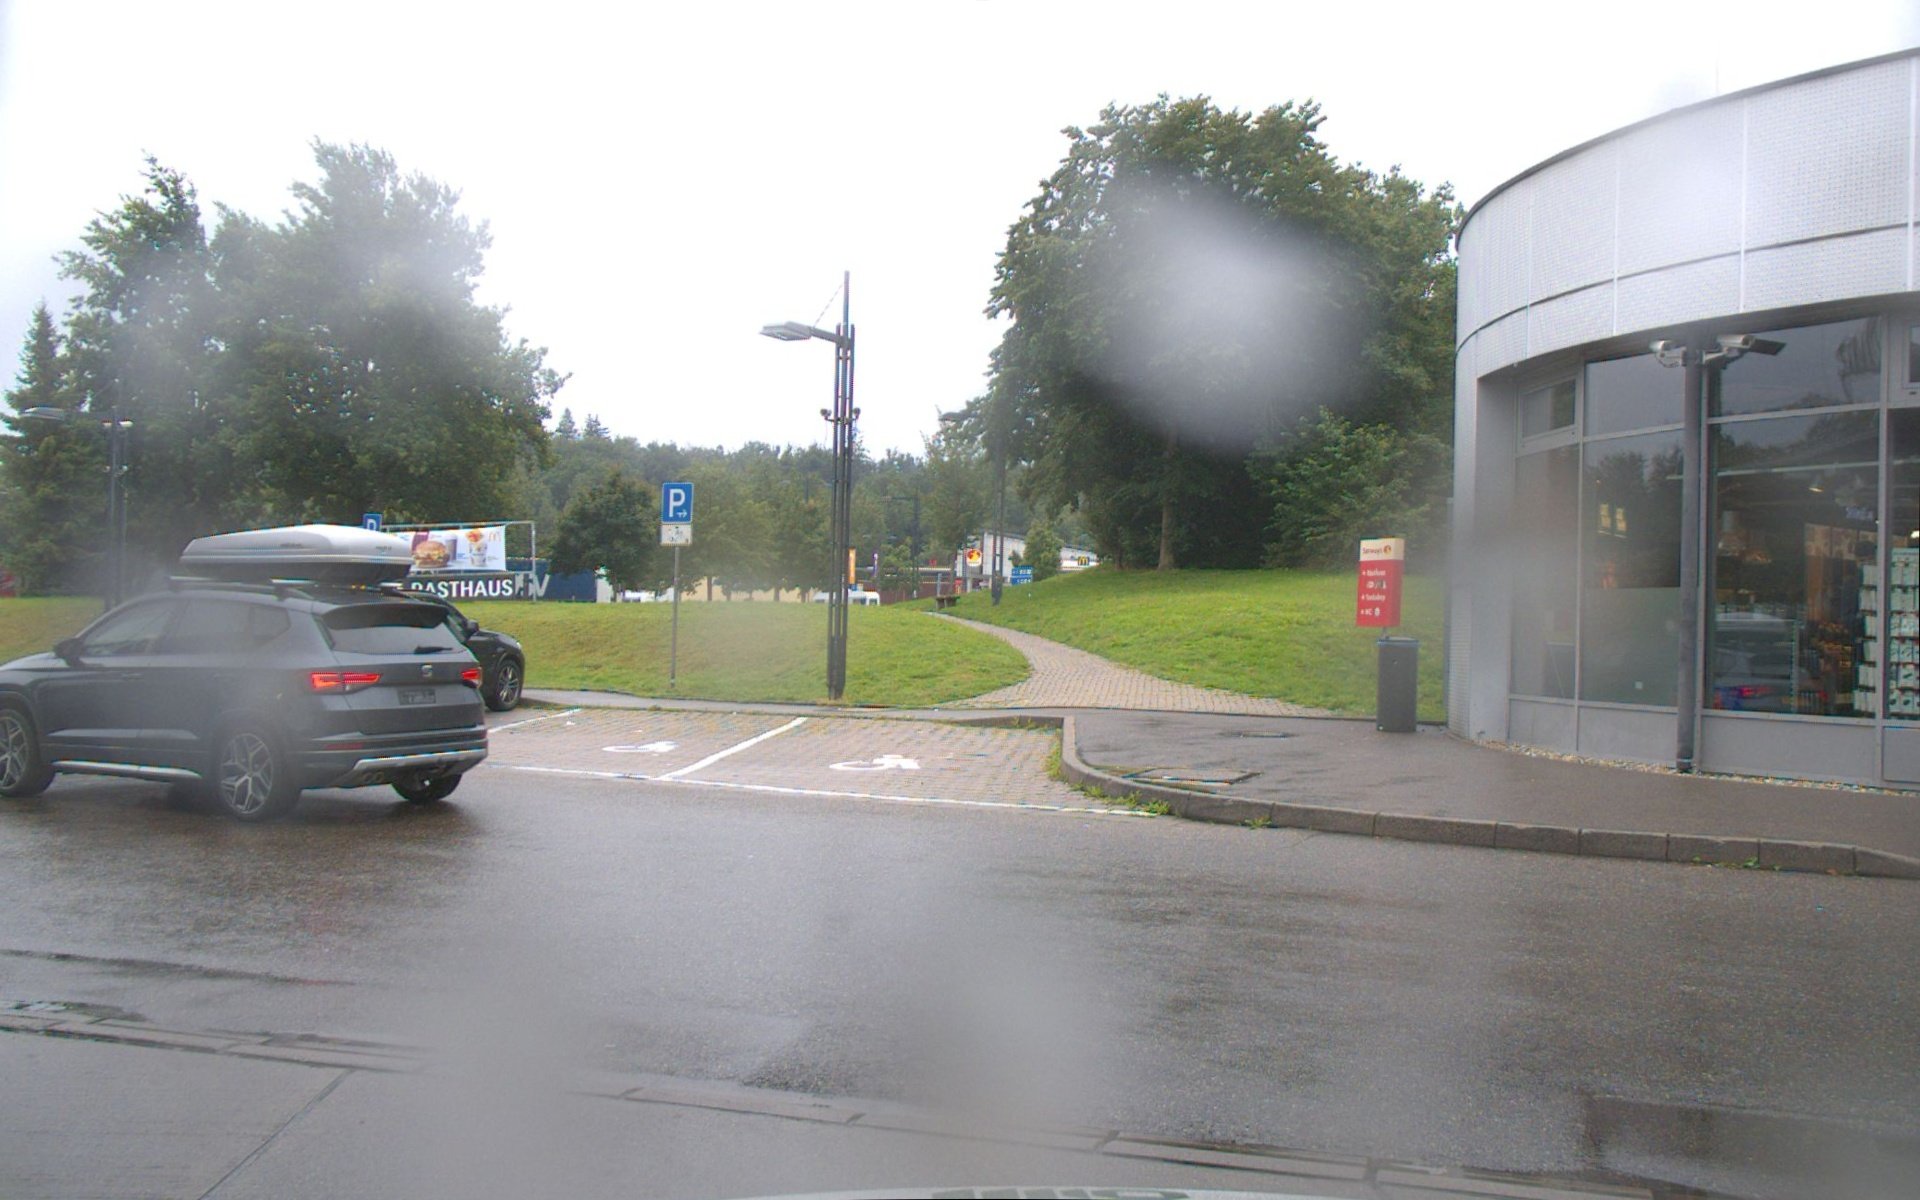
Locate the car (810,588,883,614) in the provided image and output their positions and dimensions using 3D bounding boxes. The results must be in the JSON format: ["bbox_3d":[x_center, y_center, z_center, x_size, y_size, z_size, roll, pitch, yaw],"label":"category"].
[{"bbox_3d":[-9.167,0.065,133.642,5.310,2.049,2.456,1,0,19],"label":"car"}]

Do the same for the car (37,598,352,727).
[{"bbox_3d":[-10.357,0.779,22.772,1.844,1.592,4.189,0,0,11],"label":"car"}]

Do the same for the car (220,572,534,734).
[{"bbox_3d":[-7.332,0.607,21.333,1.844,1.860,4.417,0,0,11],"label":"car"}]

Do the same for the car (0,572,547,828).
[{"bbox_3d":[-5.391,0.619,12.422,4.227,1.615,1.889,1,1,26],"label":"car"}]
